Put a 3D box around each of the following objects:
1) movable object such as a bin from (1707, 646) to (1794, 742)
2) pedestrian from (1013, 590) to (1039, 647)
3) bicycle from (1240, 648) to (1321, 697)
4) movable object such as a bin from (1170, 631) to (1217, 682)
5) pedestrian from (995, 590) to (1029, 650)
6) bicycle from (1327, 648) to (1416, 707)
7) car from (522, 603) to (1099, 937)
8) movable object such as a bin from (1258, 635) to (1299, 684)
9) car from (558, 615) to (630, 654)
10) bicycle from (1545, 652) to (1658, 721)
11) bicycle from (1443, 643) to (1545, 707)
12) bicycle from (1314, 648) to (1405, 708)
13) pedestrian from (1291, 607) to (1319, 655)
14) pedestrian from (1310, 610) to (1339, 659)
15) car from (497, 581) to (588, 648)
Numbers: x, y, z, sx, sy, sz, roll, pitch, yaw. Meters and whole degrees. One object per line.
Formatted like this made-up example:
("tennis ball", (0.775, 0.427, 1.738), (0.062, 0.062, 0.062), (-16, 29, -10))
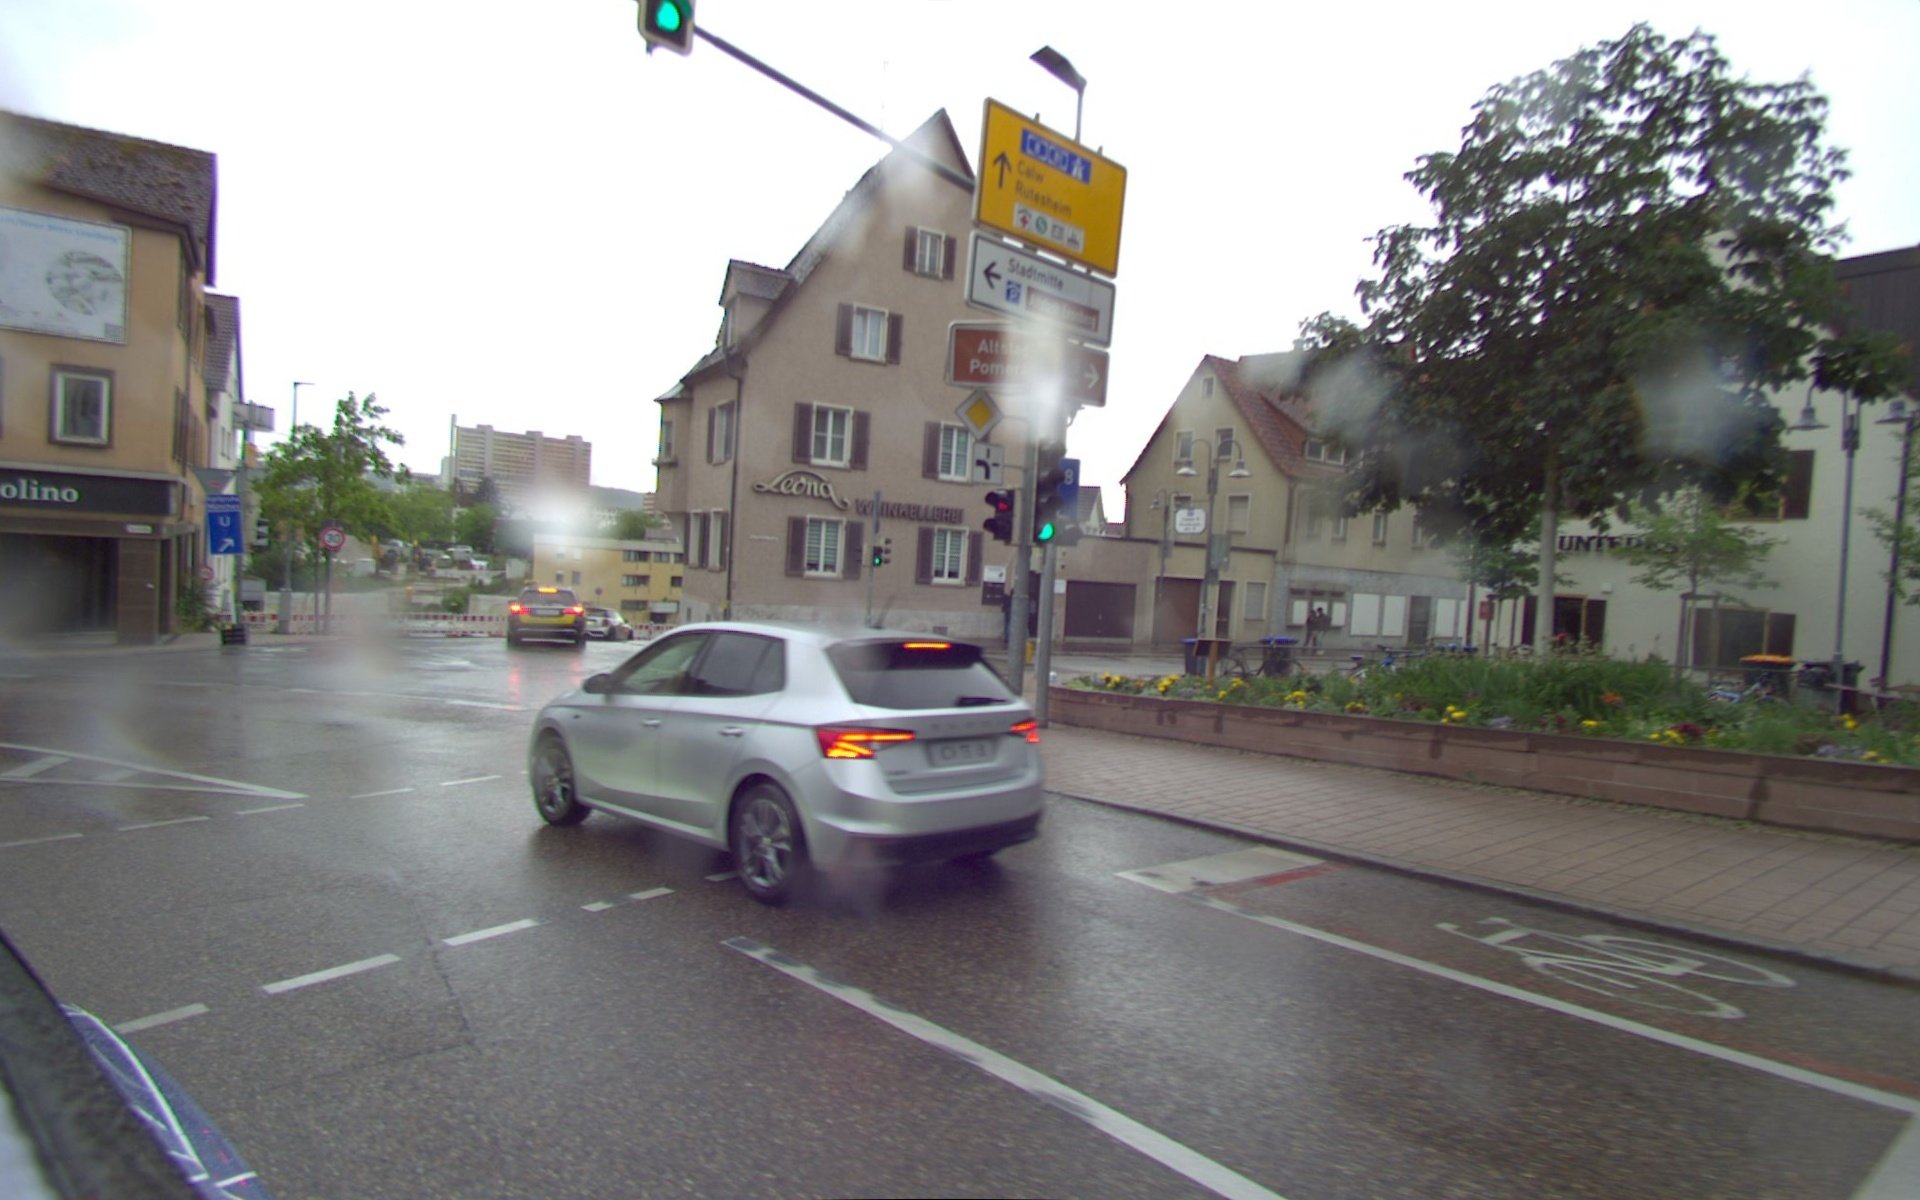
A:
("movable object such as a bin", (11.708, 1.373, 15.000), (0.735, 1.285, 0.688), (0, 4, -25))
("pedestrian", (2.091, 0.589, 32.091), (0.528, 1.741, 0.558), (3, 2, -24))
("bicycle", (6.048, 1.368, 19.121), (1.425, 0.824, 0.336), (1, 4, 19))
("movable object such as a bin", (4.802, 1.172, 20.849), (0.778, 0.933, 0.725), (4, -7, 4))
("pedestrian", (1.636, 0.612, 31.723), (0.798, 1.844, 0.704), (-1, 0, 41))
("bicycle", (7.455, 1.392, 18.351), (1.463, 0.919, 0.389), (2, 4, 27))
("car", (-1.174, 0.762, 6.336), (1.642, 1.438, 3.874), (0, -1, -44))
("movable object such as a bin", (6.535, 1.211, 20.747), (0.588, 0.908, 0.576), (3, 3, 41))
("car", (-14.210, 1.308, 39.519), (1.968, 1.442, 4.008), (0, -1, -10))
("bicycle", (10.277, 1.368, 16.239), (1.469, 0.919, 0.387), (3, 5, 40))
("bicycle", (9.027, 1.258, 17.137), (1.469, 0.919, 0.387), (3, 5, 40))
("bicycle", (7.117, 1.380, 18.054), (1.463, 0.919, 0.389), (2, 4, 27))
("pedestrian", (12.827, 1.144, 37.625), (0.620, 1.745, 0.784), (0, 1, -30))
("pedestrian", (13.255, 1.240, 36.828), (0.620, 1.745, 0.784), (0, 1, -30))
("car", (-10.571, 0.368, 25.904), (1.965, 1.550, 4.428), (0, -1, -20))
